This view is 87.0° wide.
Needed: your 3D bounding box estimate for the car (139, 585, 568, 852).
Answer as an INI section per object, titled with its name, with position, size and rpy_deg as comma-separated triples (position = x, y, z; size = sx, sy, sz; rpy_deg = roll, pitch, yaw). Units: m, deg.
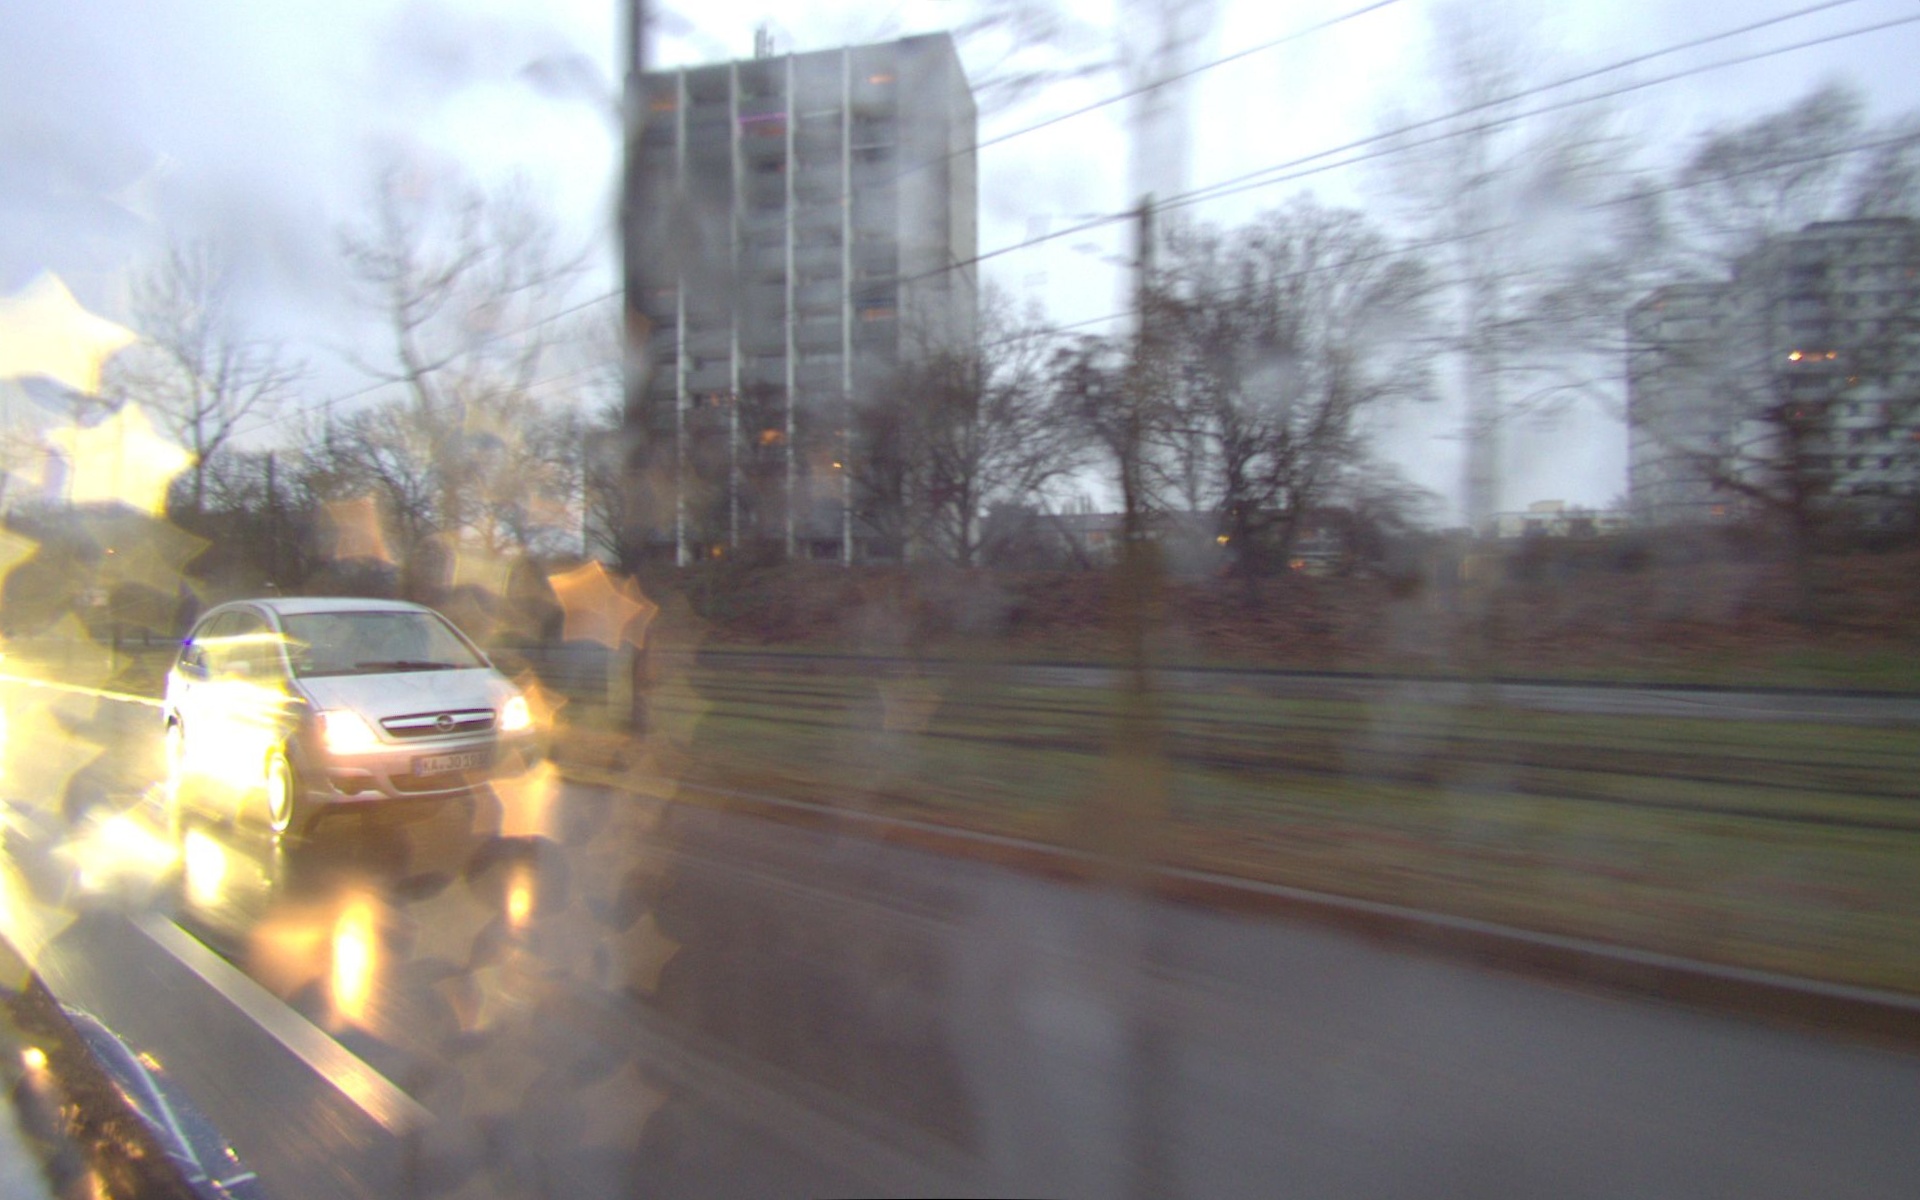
[car]
position = -4.883, 0.729, 7.940
size = 3.918, 1.587, 1.649
rpy_deg = -1, 0, 39
